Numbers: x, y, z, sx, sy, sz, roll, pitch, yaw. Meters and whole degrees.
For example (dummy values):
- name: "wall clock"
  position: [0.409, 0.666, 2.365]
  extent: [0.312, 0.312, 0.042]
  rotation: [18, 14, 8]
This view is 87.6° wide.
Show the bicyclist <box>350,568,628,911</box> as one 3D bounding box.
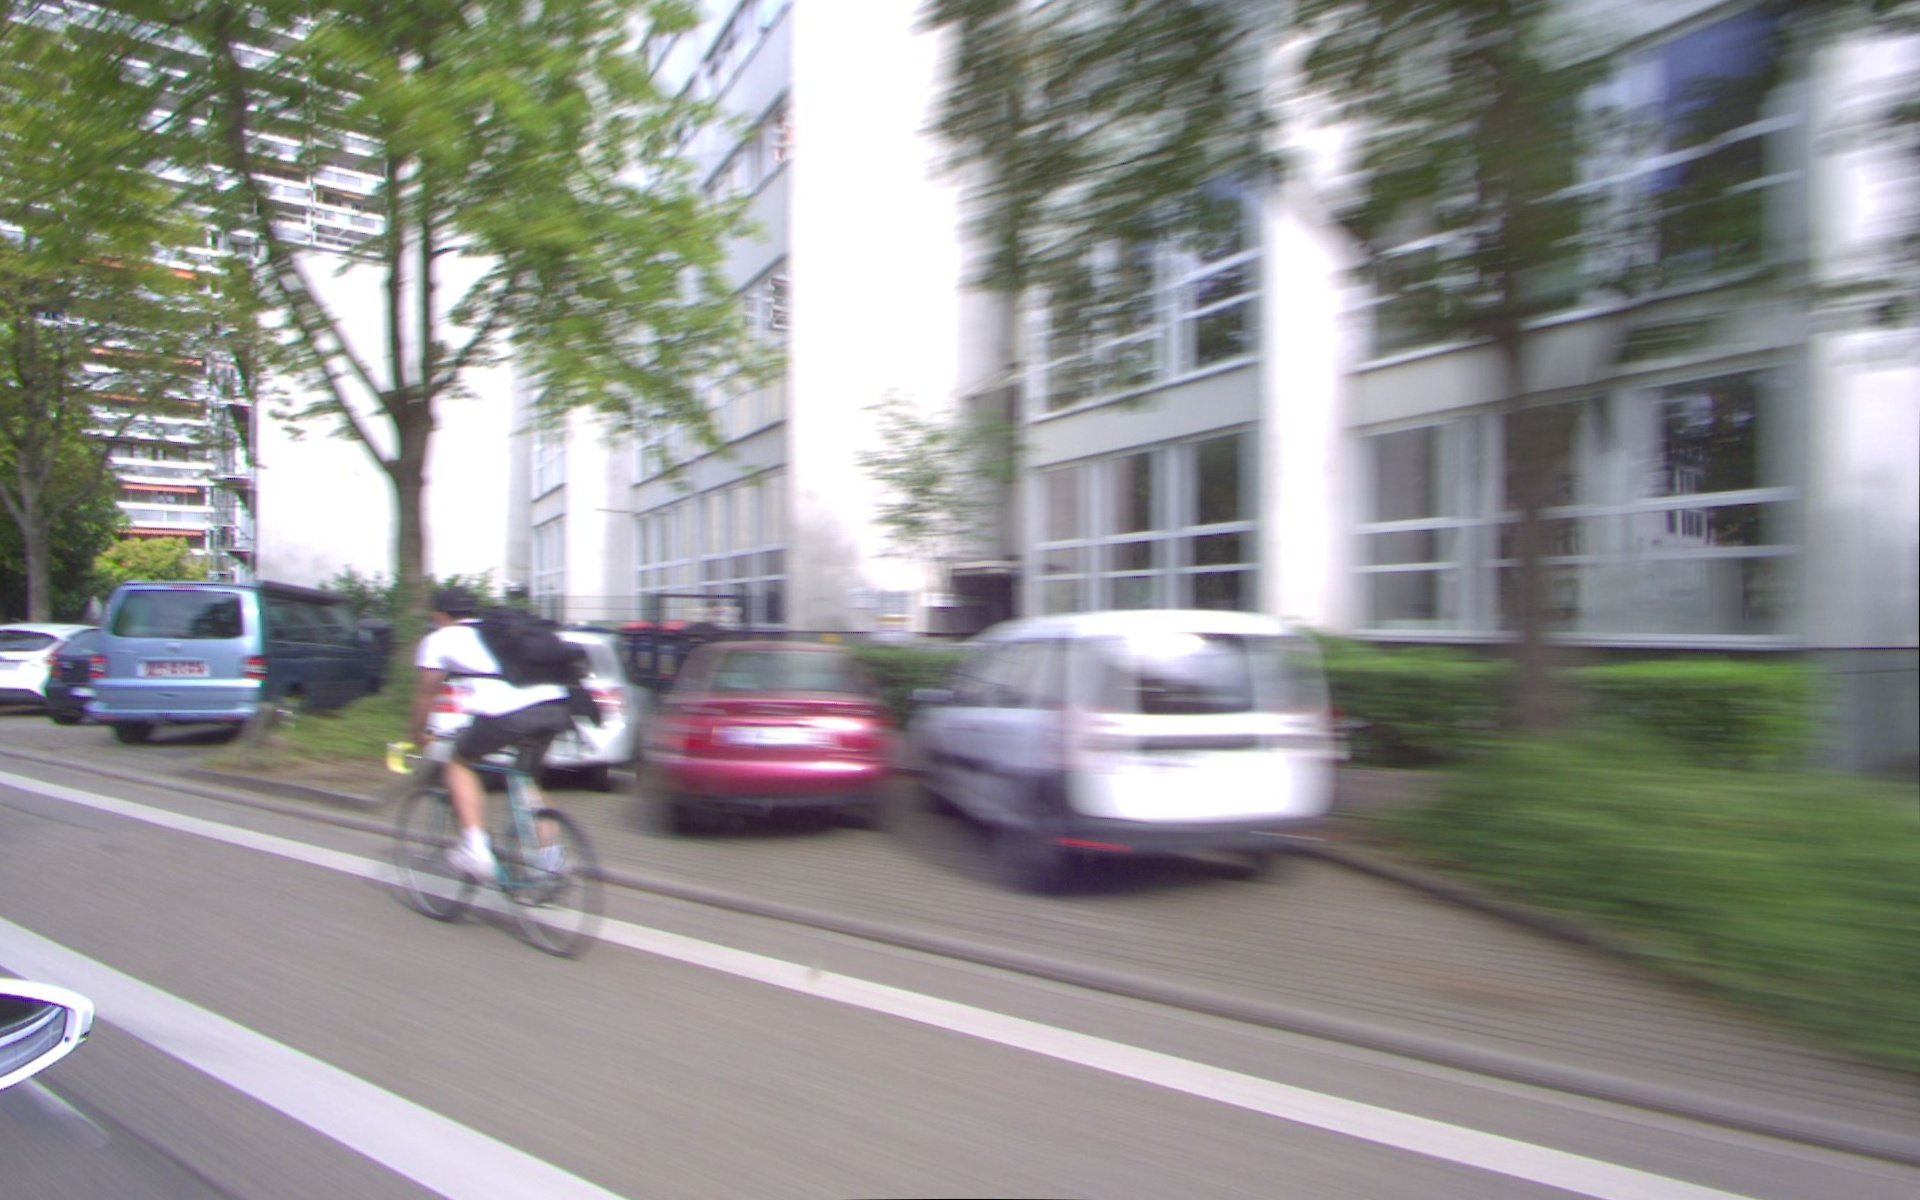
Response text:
- name: "bicyclist"
  position: [-2.313, 0.615, 4.919]
  extent: [1.161, 1.482, 0.657]
  rotation: [0, -1, 30]

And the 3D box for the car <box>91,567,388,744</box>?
- name: "car"
  position: [-9.603, 0.723, 13.825]
  extent: [1.798, 2.040, 4.272]
  rotation: [1, -2, -14]

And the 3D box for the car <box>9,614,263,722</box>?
- name: "car"
  position: [-12.702, 1.006, 15.757]
  extent: [1.647, 1.478, 3.824]
  rotation: [1, -2, -15]

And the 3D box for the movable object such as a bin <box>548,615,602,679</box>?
- name: "movable object such as a bin"
  position: [-9.883, 1.199, 25.709]
  extent: [1.022, 1.582, 1.072]
  rotation: [2, -2, -35]

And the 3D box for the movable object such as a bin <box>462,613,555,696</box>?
- name: "movable object such as a bin"
  position: [-8.697, 1.035, 19.307]
  extent: [1.304, 1.527, 1.068]
  rotation: [0, -2, 32]

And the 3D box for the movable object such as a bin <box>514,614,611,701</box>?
- name: "movable object such as a bin"
  position: [-7.326, 1.037, 18.466]
  extent: [1.304, 1.527, 1.068]
  rotation: [0, -2, 32]

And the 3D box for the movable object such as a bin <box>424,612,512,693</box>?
- name: "movable object such as a bin"
  position: [-9.791, 1.033, 19.952]
  extent: [1.196, 1.527, 1.068]
  rotation: [0, -2, 32]

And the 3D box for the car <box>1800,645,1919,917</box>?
- name: "car"
  position: [6.574, 1.007, 4.524]
  extent: [1.659, 1.530, 4.089]
  rotation: [1, -2, -14]

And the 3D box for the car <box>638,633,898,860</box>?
- name: "car"
  position: [-1.617, 1.018, 8.544]
  extent: [1.658, 1.451, 3.974]
  rotation: [1, -2, -11]

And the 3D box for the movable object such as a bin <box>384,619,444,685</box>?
- name: "movable object such as a bin"
  position: [-13.067, 1.239, 23.967]
  extent: [1.105, 1.542, 1.072]
  rotation: [2, -2, -35]

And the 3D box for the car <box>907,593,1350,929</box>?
- name: "car"
  position: [0.826, 0.890, 7.244]
  extent: [1.659, 1.689, 4.105]
  rotation: [1, -2, -14]

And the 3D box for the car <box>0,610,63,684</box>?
- name: "car"
  position: [-20.699, 0.962, 20.692]
  extent: [1.611, 1.541, 3.736]
  rotation: [1, -2, -14]

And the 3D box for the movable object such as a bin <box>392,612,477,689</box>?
- name: "movable object such as a bin"
  position: [-10.947, 1.039, 20.867]
  extent: [1.196, 1.527, 1.068]
  rotation: [0, -2, 32]

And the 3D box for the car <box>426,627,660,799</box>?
- name: "car"
  position: [-4.117, 1.027, 10.449]
  extent: [1.659, 1.451, 3.713]
  rotation: [1, -2, -14]

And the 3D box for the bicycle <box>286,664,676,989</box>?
- name: "bicycle"
  position: [-2.424, 0.991, 4.968]
  extent: [2.093, 1.265, 0.657]
  rotation: [0, -2, 30]

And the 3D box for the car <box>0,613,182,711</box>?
- name: "car"
  position: [-15.118, 0.993, 17.025]
  extent: [1.611, 1.478, 3.824]
  rotation: [1, -2, -15]

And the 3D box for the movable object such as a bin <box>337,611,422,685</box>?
- name: "movable object such as a bin"
  position: [-12.529, 1.028, 21.611]
  extent: [1.315, 1.527, 1.068]
  rotation: [0, -2, 32]

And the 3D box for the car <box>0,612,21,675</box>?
- name: "car"
  position: [-23.897, 1.001, 23.082]
  extent: [1.611, 1.541, 3.736]
  rotation: [1, -2, -14]
